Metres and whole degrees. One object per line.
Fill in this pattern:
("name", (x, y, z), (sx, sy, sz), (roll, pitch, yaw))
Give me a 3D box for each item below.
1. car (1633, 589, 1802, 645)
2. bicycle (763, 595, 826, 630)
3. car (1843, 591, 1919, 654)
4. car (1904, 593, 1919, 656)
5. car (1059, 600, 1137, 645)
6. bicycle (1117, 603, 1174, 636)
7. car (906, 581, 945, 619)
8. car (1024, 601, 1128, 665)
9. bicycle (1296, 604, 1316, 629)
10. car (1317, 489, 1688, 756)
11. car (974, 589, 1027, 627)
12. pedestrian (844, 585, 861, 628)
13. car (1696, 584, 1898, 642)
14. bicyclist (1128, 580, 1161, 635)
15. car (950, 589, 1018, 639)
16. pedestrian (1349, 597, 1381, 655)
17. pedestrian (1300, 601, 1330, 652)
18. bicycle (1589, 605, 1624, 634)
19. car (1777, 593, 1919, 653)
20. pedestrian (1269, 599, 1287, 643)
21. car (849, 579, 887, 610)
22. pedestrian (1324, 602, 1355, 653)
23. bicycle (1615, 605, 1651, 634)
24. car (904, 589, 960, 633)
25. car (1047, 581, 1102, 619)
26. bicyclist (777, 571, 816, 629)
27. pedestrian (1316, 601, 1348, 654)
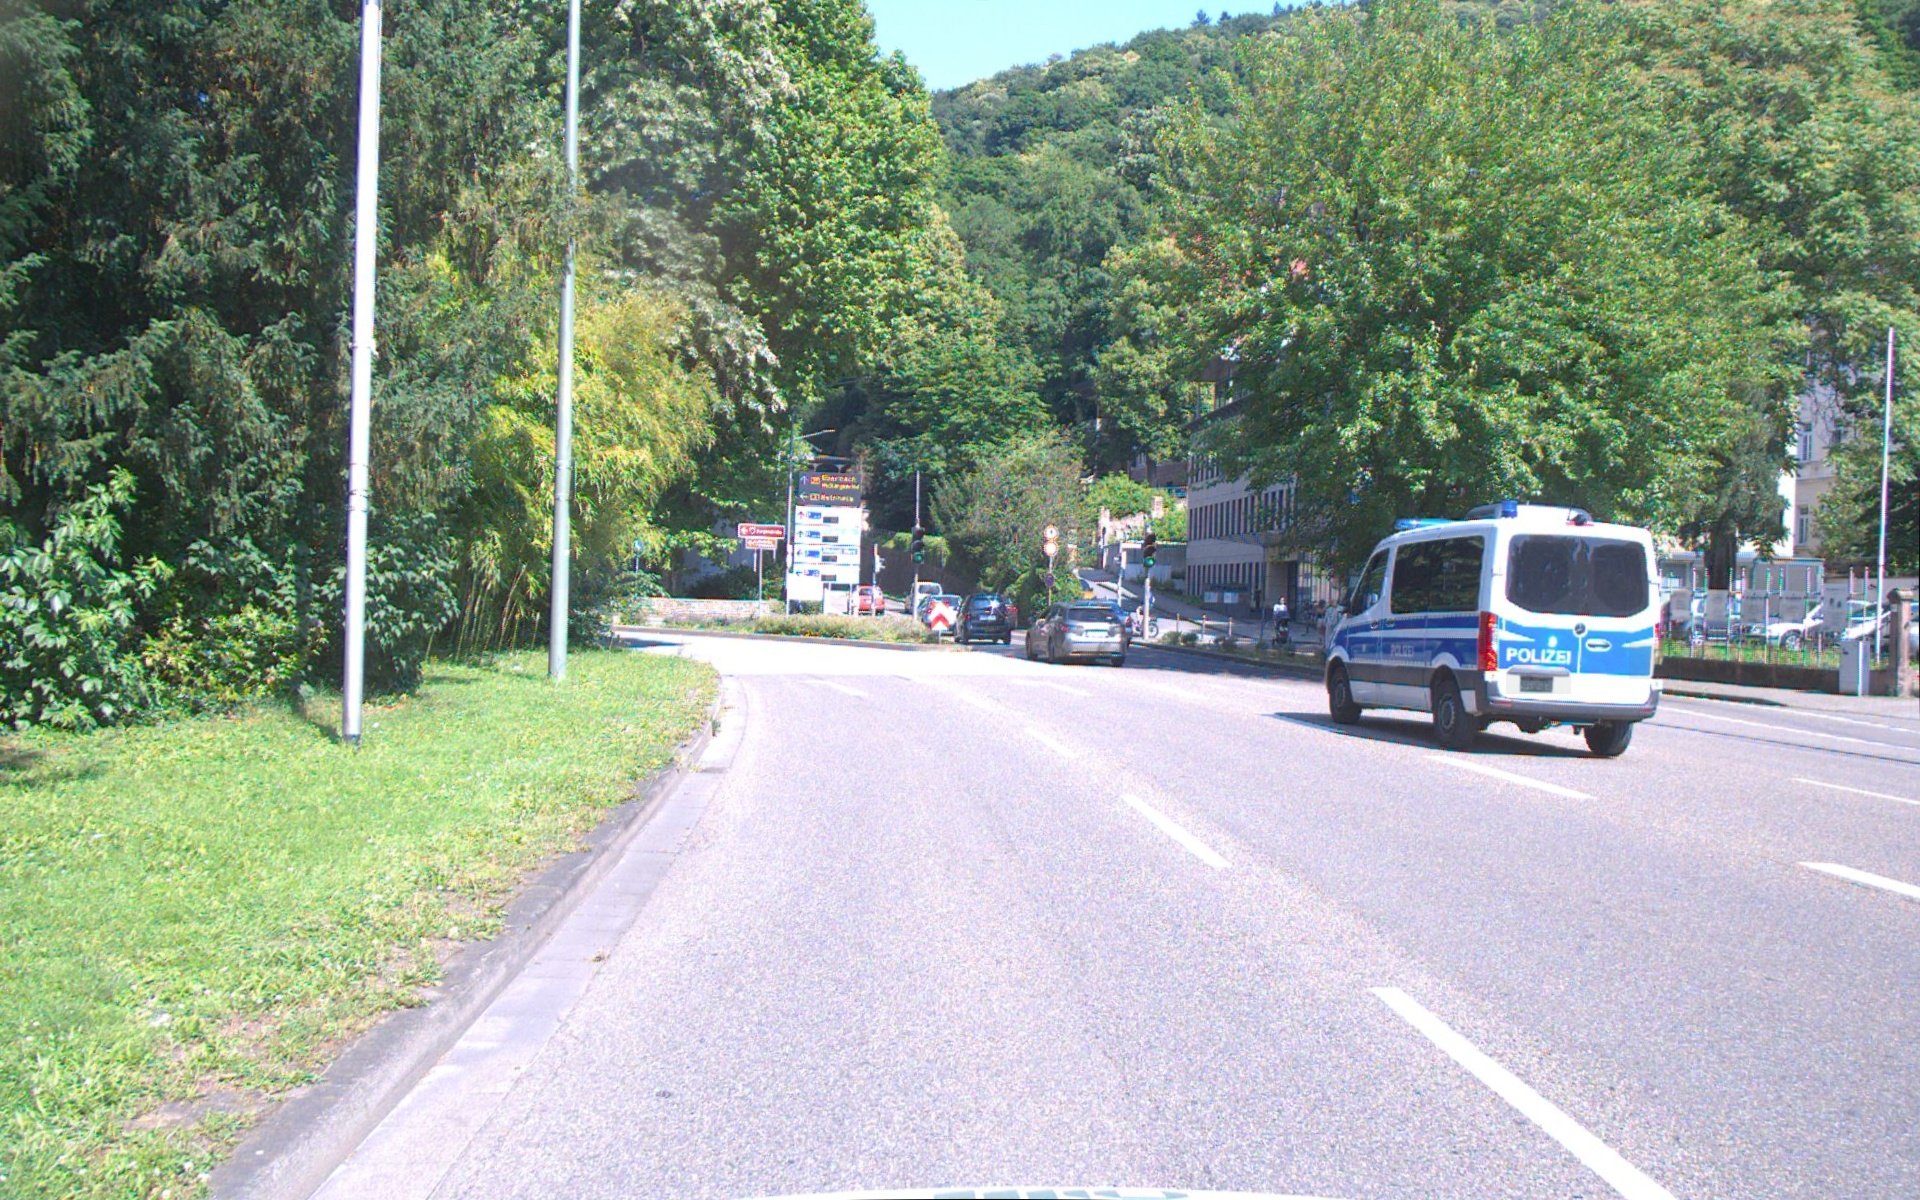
("car", (21.623, 0.475, 47.268), (4.068, 1.501, 1.873), (1, 0, -11))
("bicycle", (-5.772, 0.426, 57.737), (2.033, 1.132, 0.757), (2, 0, 19))
("car", (22.631, 0.532, 37.857), (3.965, 1.359, 1.857), (1, 0, -9))
("car", (22.776, 0.571, 35.542), (3.965, 1.359, 1.988), (1, 0, -9))
("car", (4.192, 0.671, 50.601), (1.722, 1.234, 3.489), (2, 0, -6))
("bicycle", (6.759, 0.694, 60.283), (2.032, 1.132, 0.757), (2, 0, 6))
("car", (-1.864, -0.019, 88.762), (1.722, 1.972, 3.489), (2, 0, -6))
("car", (2.701, 0.745, 39.238), (1.723, 1.357, 3.796), (2, 0, -7))
("bicycle", (14.513, 0.694, 69.419), (0.397, 1.030, 1.340), (1, 1, -6))
("car", (5.868, 0.219, 18.675), (2.034, 2.552, 4.922), (2, 0, -7))
("car", (1.658, 0.320, 69.257), (1.722, 1.486, 3.641), (2, 0, -6))
("pedestrian", (-4.131, 0.252, 63.603), (0.535, 1.649, 0.634), (1, 1, 3))
("car", (21.455, 0.328, 42.444), (4.383, 1.359, 1.818), (1, 0, -9))
("bicyclist", (6.727, 0.277, 60.281), (1.102, 1.966, 0.749), (2, 0, 6))
("car", (0.738, 0.422, 52.821), (1.722, 1.486, 3.489), (2, 0, -6))
("pedestrian", (13.346, 0.853, 54.536), (0.756, 1.886, 0.828), (2, 0, -6))
("pedestrian", (12.015, 0.903, 55.993), (0.756, 1.692, 0.828), (2, 0, -5))
("bicycle", (25.325, 0.749, 64.775), (0.527, 1.104, 1.833), (1, 0, -4))
("car", (22.142, 0.559, 39.956), (4.009, 1.359, 1.818), (1, 0, -9))
("pedestrian", (10.951, 0.725, 56.952), (0.479, 1.483, 0.734), (1, 0, 18))
("car", (-4.748, -0.292, 85.369), (1.722, 1.486, 3.489), (2, 0, -6))
("pedestrian", (12.803, 0.914, 55.859), (0.756, 1.692, 0.829), (2, 0, -5))
("bicycle", (26.479, 0.762, 65.112), (0.527, 1.104, 1.833), (1, 0, -4))
("car", (-1.058, 0.380, 60.785), (1.722, 1.486, 3.641), (2, 0, -6))
("car", (5.396, -0.008, 78.460), (1.894, 1.726, 3.995), (1, 0, -6))
("bicyclist", (-5.713, -0.001, 57.725), (1.102, 1.966, 0.748), (2, 0, 19))
("pedestrian", (12.302, 0.900, 54.692), (0.756, 1.692, 0.828), (2, 0, -6))
